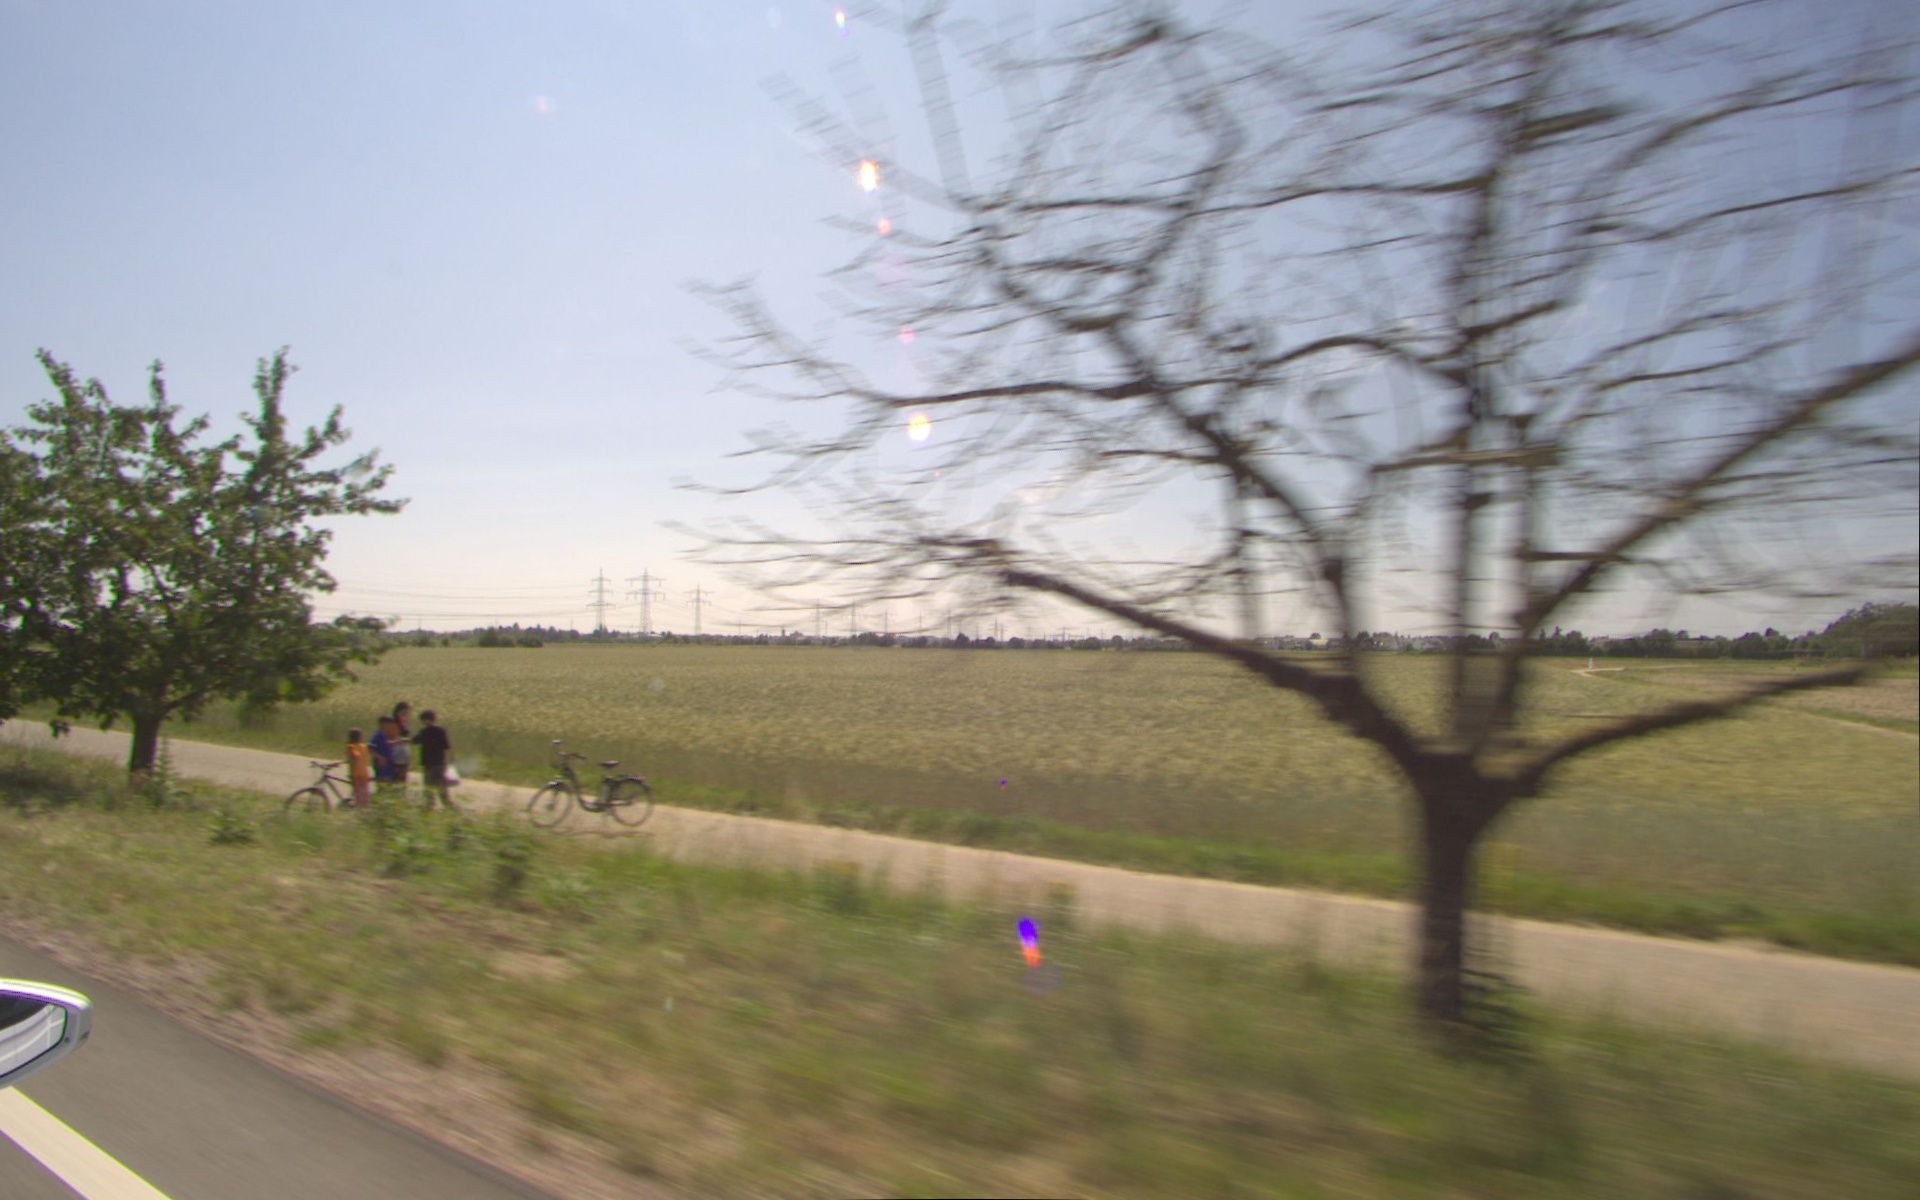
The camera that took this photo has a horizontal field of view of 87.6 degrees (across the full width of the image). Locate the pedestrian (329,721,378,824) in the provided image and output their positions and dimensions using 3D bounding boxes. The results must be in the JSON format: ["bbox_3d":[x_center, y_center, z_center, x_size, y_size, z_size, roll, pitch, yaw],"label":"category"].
[{"bbox_3d":[-8.194,2.315,13.548,0.479,1.312,0.441,1,-1,-22],"label":"pedestrian"}]

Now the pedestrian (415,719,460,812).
[{"bbox_3d":[-7.713,2.433,14.799,0.478,1.312,0.442,1,-1,-13],"label":"pedestrian"}]

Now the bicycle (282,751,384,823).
[{"bbox_3d":[-8.566,2.544,13.710,1.100,0.871,0.441,1,-1,-21],"label":"bicycle"}]

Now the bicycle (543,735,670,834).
[{"bbox_3d":[-4.794,2.476,13.585,1.652,1.180,0.476,0,-1,17],"label":"bicycle"}]

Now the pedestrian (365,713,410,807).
[{"bbox_3d":[-8.568,2.388,15.001,0.478,1.331,0.441,1,-1,-16],"label":"pedestrian"}]

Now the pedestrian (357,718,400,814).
[{"bbox_3d":[-8.402,2.383,14.472,0.479,1.312,0.440,1,-1,-25],"label":"pedestrian"}]
